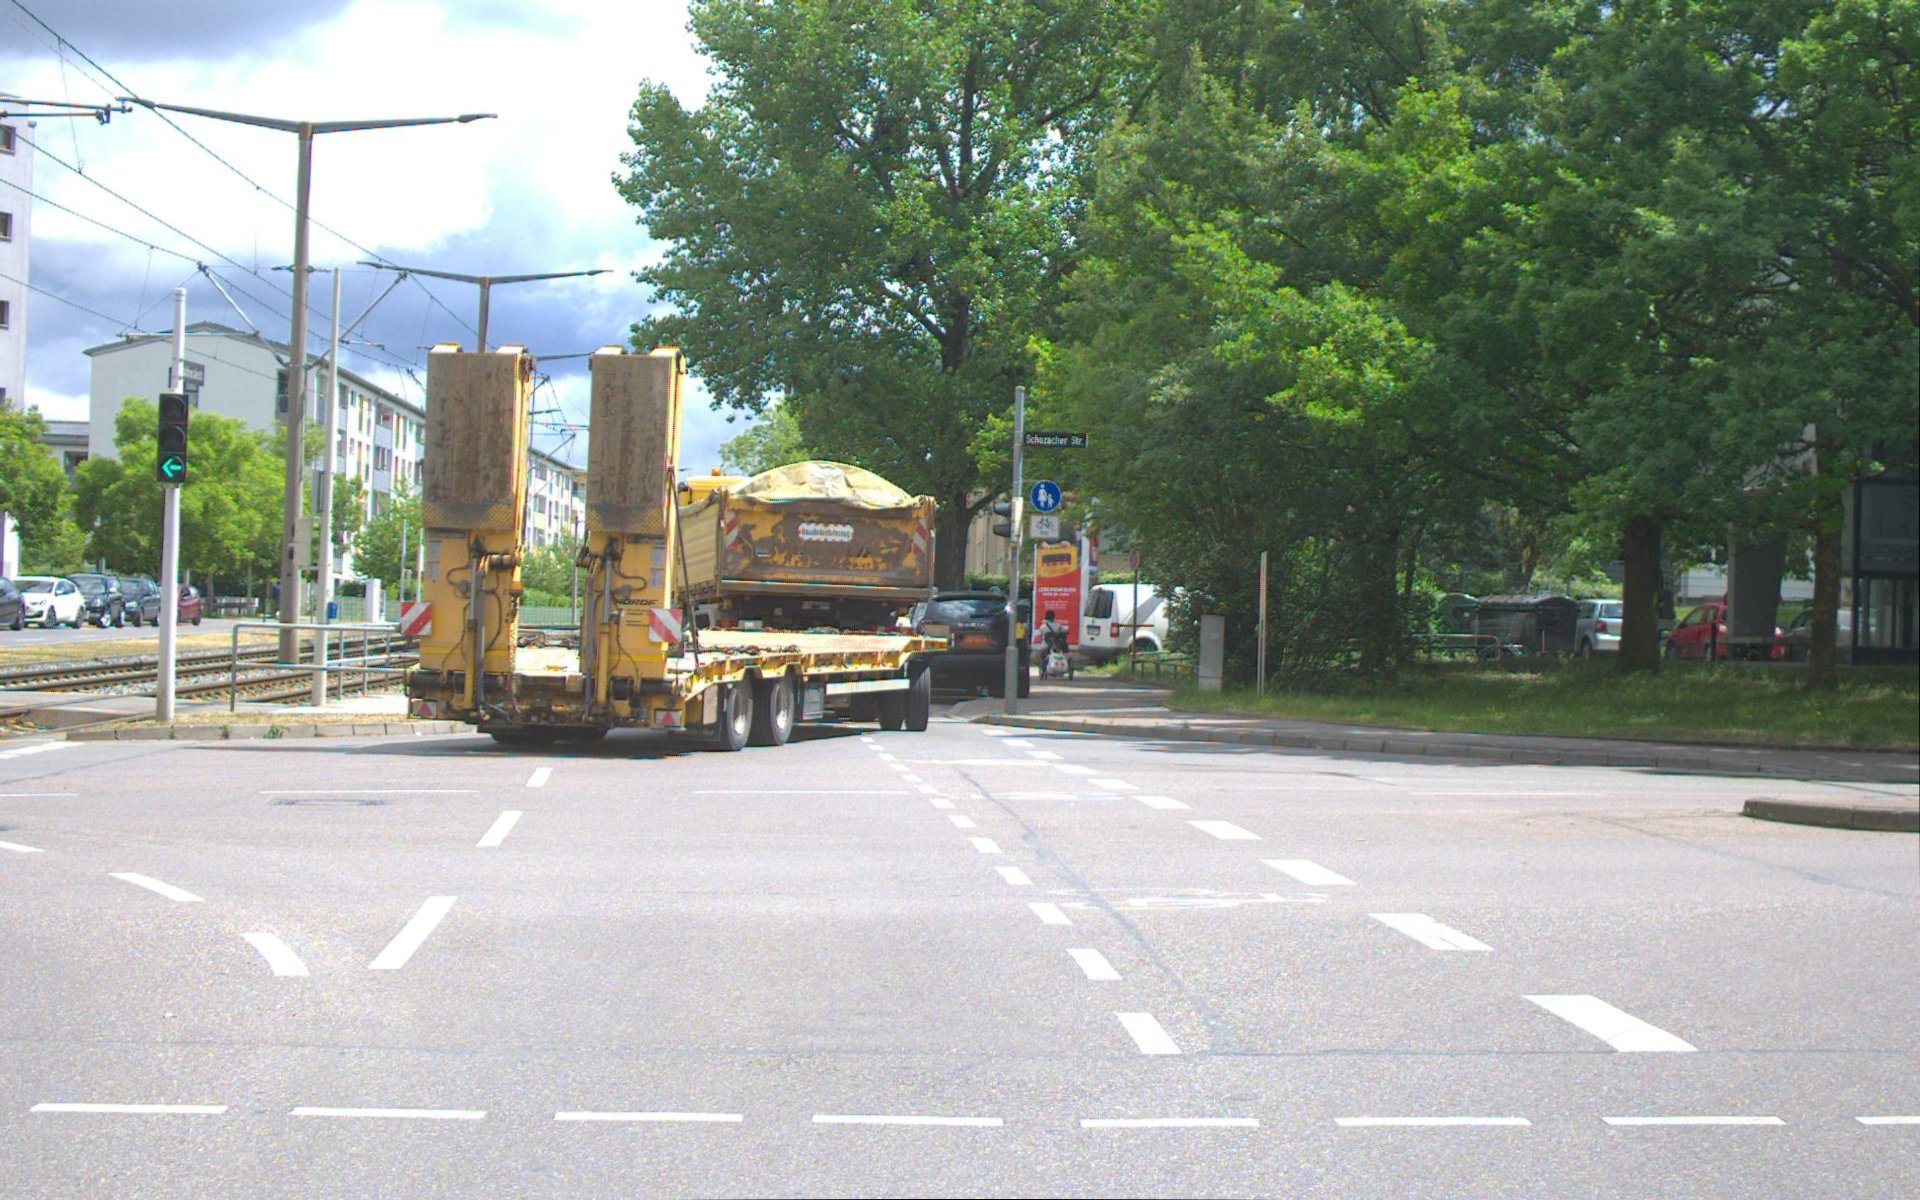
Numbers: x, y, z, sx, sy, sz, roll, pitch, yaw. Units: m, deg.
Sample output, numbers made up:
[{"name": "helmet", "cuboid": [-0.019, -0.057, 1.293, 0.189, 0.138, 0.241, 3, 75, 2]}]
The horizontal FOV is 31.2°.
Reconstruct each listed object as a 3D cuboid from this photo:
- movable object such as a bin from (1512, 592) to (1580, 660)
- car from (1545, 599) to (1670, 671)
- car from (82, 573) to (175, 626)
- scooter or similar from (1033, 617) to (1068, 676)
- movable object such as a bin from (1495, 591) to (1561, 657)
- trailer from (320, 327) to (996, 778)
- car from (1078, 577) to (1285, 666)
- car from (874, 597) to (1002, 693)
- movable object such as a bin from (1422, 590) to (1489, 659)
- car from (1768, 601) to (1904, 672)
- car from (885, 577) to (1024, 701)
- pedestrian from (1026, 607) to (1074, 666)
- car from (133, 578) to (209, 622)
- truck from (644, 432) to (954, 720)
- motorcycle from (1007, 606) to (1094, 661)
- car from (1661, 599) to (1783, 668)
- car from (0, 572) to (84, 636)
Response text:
[{"name": "movable object such as a bin", "cuboid": [12.612, 0.546, 74.021, 1.115, 1.425, 1.286, 1, 0, -6]}, {"name": "car", "cuboid": [14.384, 0.749, 76.547, 1.940, 1.485, 4.000, 1, 1, -1]}, {"name": "car", "cuboid": [-26.596, -0.041, 110.104, 1.993, 1.642, 4.100, 1, 1, 0]}, {"name": "scooter or similar", "cuboid": [1.664, 0.856, 63.195, 0.476, 1.051, 0.897, 1, 0, -9]}, {"name": "movable object such as a bin", "cuboid": [12.464, 0.518, 75.421, 1.115, 1.425, 1.286, 1, 0, -6]}, {"name": "trailer", "cuboid": [-2.535, -0.454, 34.655, 3.053, 3.760, 11.604, 1, 1, 14]}, {"name": "car", "cuboid": [4.699, 0.450, 72.842, 3.986, 1.816, 1.811, 1, 1, -26]}, {"name": "car", "cuboid": [-0.400, 0.711, 56.555, 1.643, 1.453, 4.077, 1, 1, -7]}, {"name": "movable object such as a bin", "cuboid": [10.524, 0.515, 73.041, 1.115, 1.425, 1.286, 1, 0, -6]}, {"name": "car", "cuboid": [19.428, 0.790, 76.369, 1.743, 1.465, 4.001, 1, 1, -4]}, {"name": "car", "cuboid": [-0.127, 0.557, 52.062, 1.643, 1.756, 4.570, 1, 1, -6]}, {"name": "pedestrian", "cuboid": [1.658, 0.671, 63.182, 0.775, 1.051, 0.547, 1, 0, -9]}, {"name": "car", "cuboid": [-26.817, -0.014, 116.971, 1.613, 1.421, 3.422, 1, 1, 4]}, {"name": "truck", "cuboid": [-2.220, -0.316, 43.863, 2.833, 3.319, 7.986, 1, 1, -11]}, {"name": "motorcycle", "cuboid": [2.016, 0.743, 76.592, 1.794, 1.206, 0.712, 1, 0, -25]}, {"name": "car", "cuboid": [17.049, 0.738, 77.093, 1.743, 1.438, 4.000, 1, 1, -1]}, {"name": "car", "cuboid": [-26.152, 0.086, 97.149, 1.993, 1.657, 4.100, 3, 0, -5]}]
